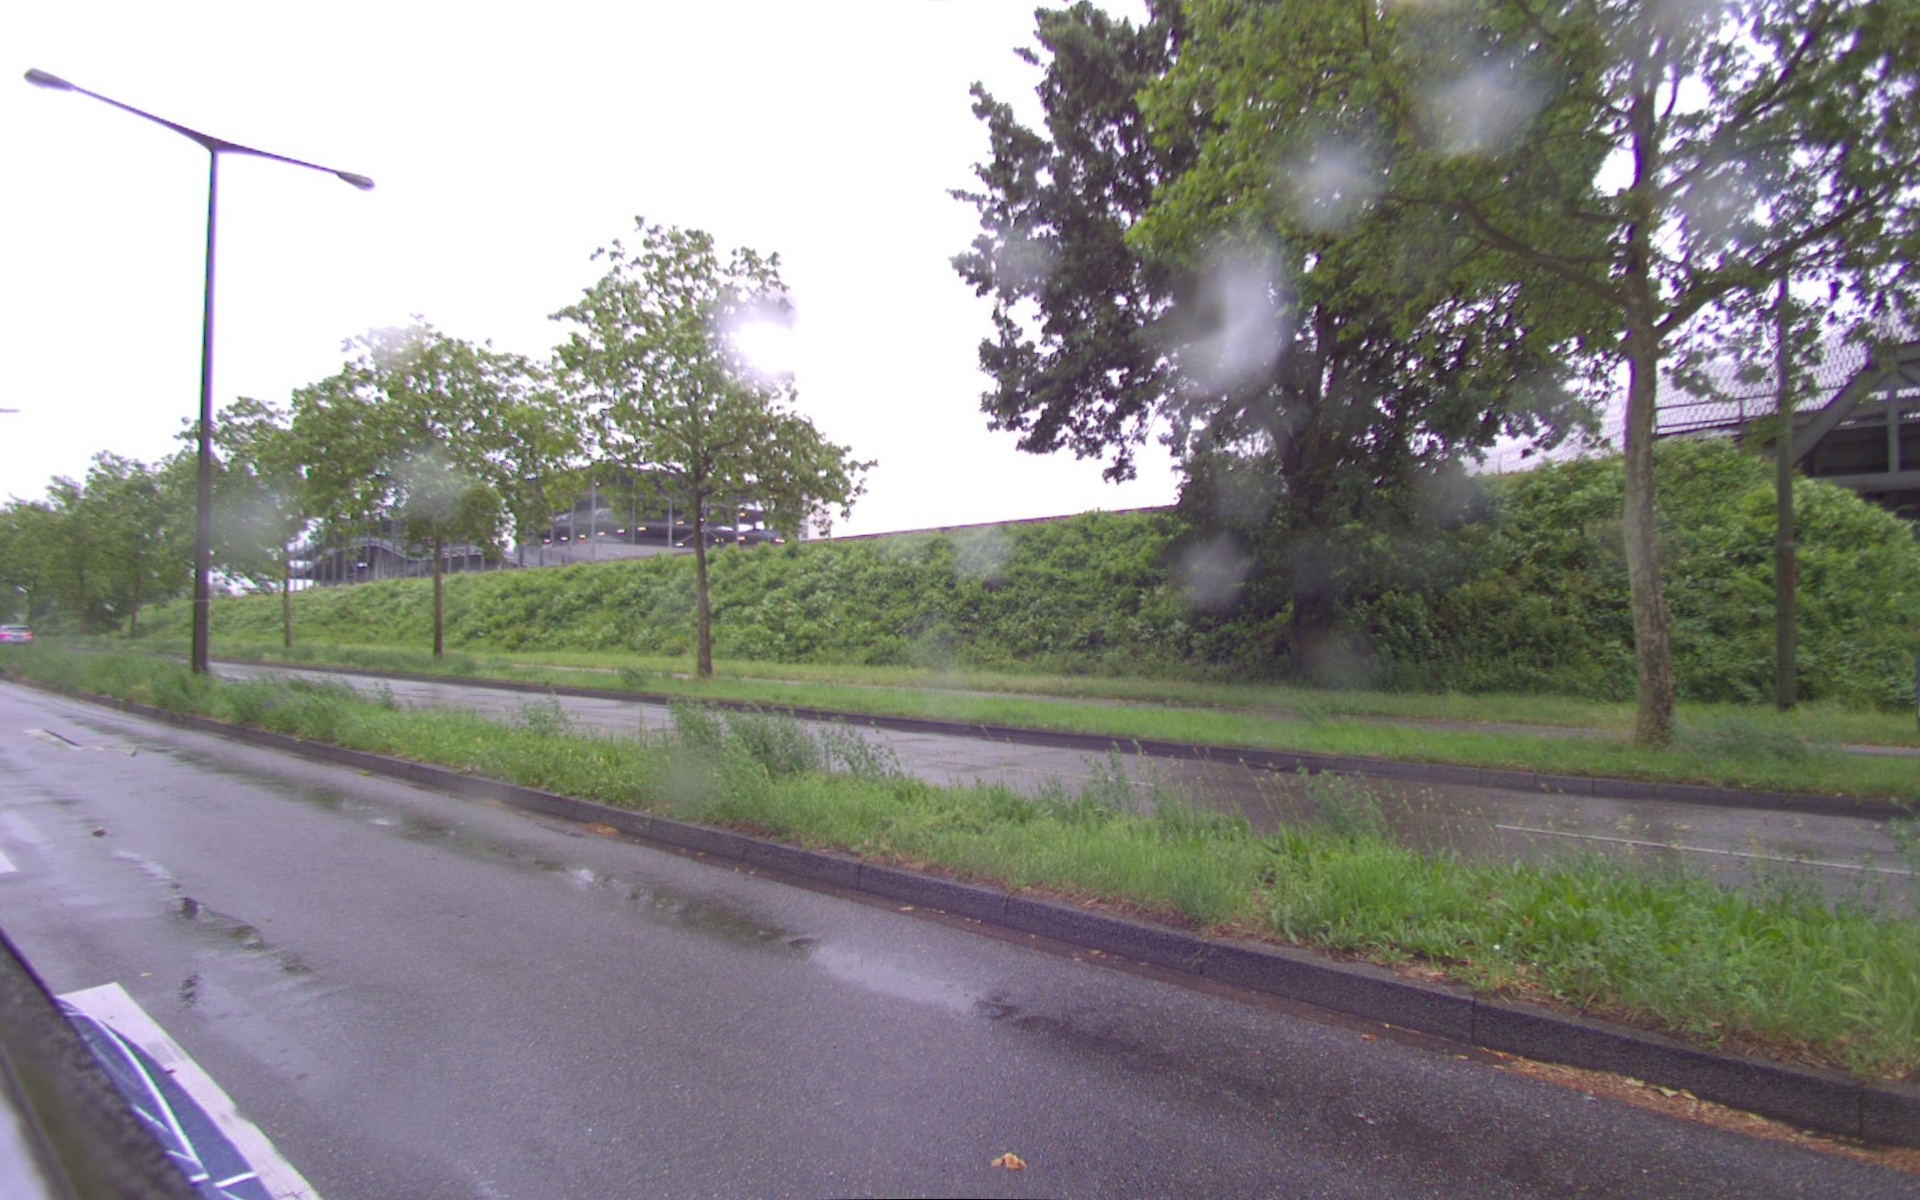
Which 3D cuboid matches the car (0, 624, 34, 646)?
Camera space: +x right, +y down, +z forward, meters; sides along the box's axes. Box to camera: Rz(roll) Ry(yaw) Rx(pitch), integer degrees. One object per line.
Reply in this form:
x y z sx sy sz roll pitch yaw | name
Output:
-65.800 2.400 70.272 4.089 1.476 1.702 -1 -3 40 | car
